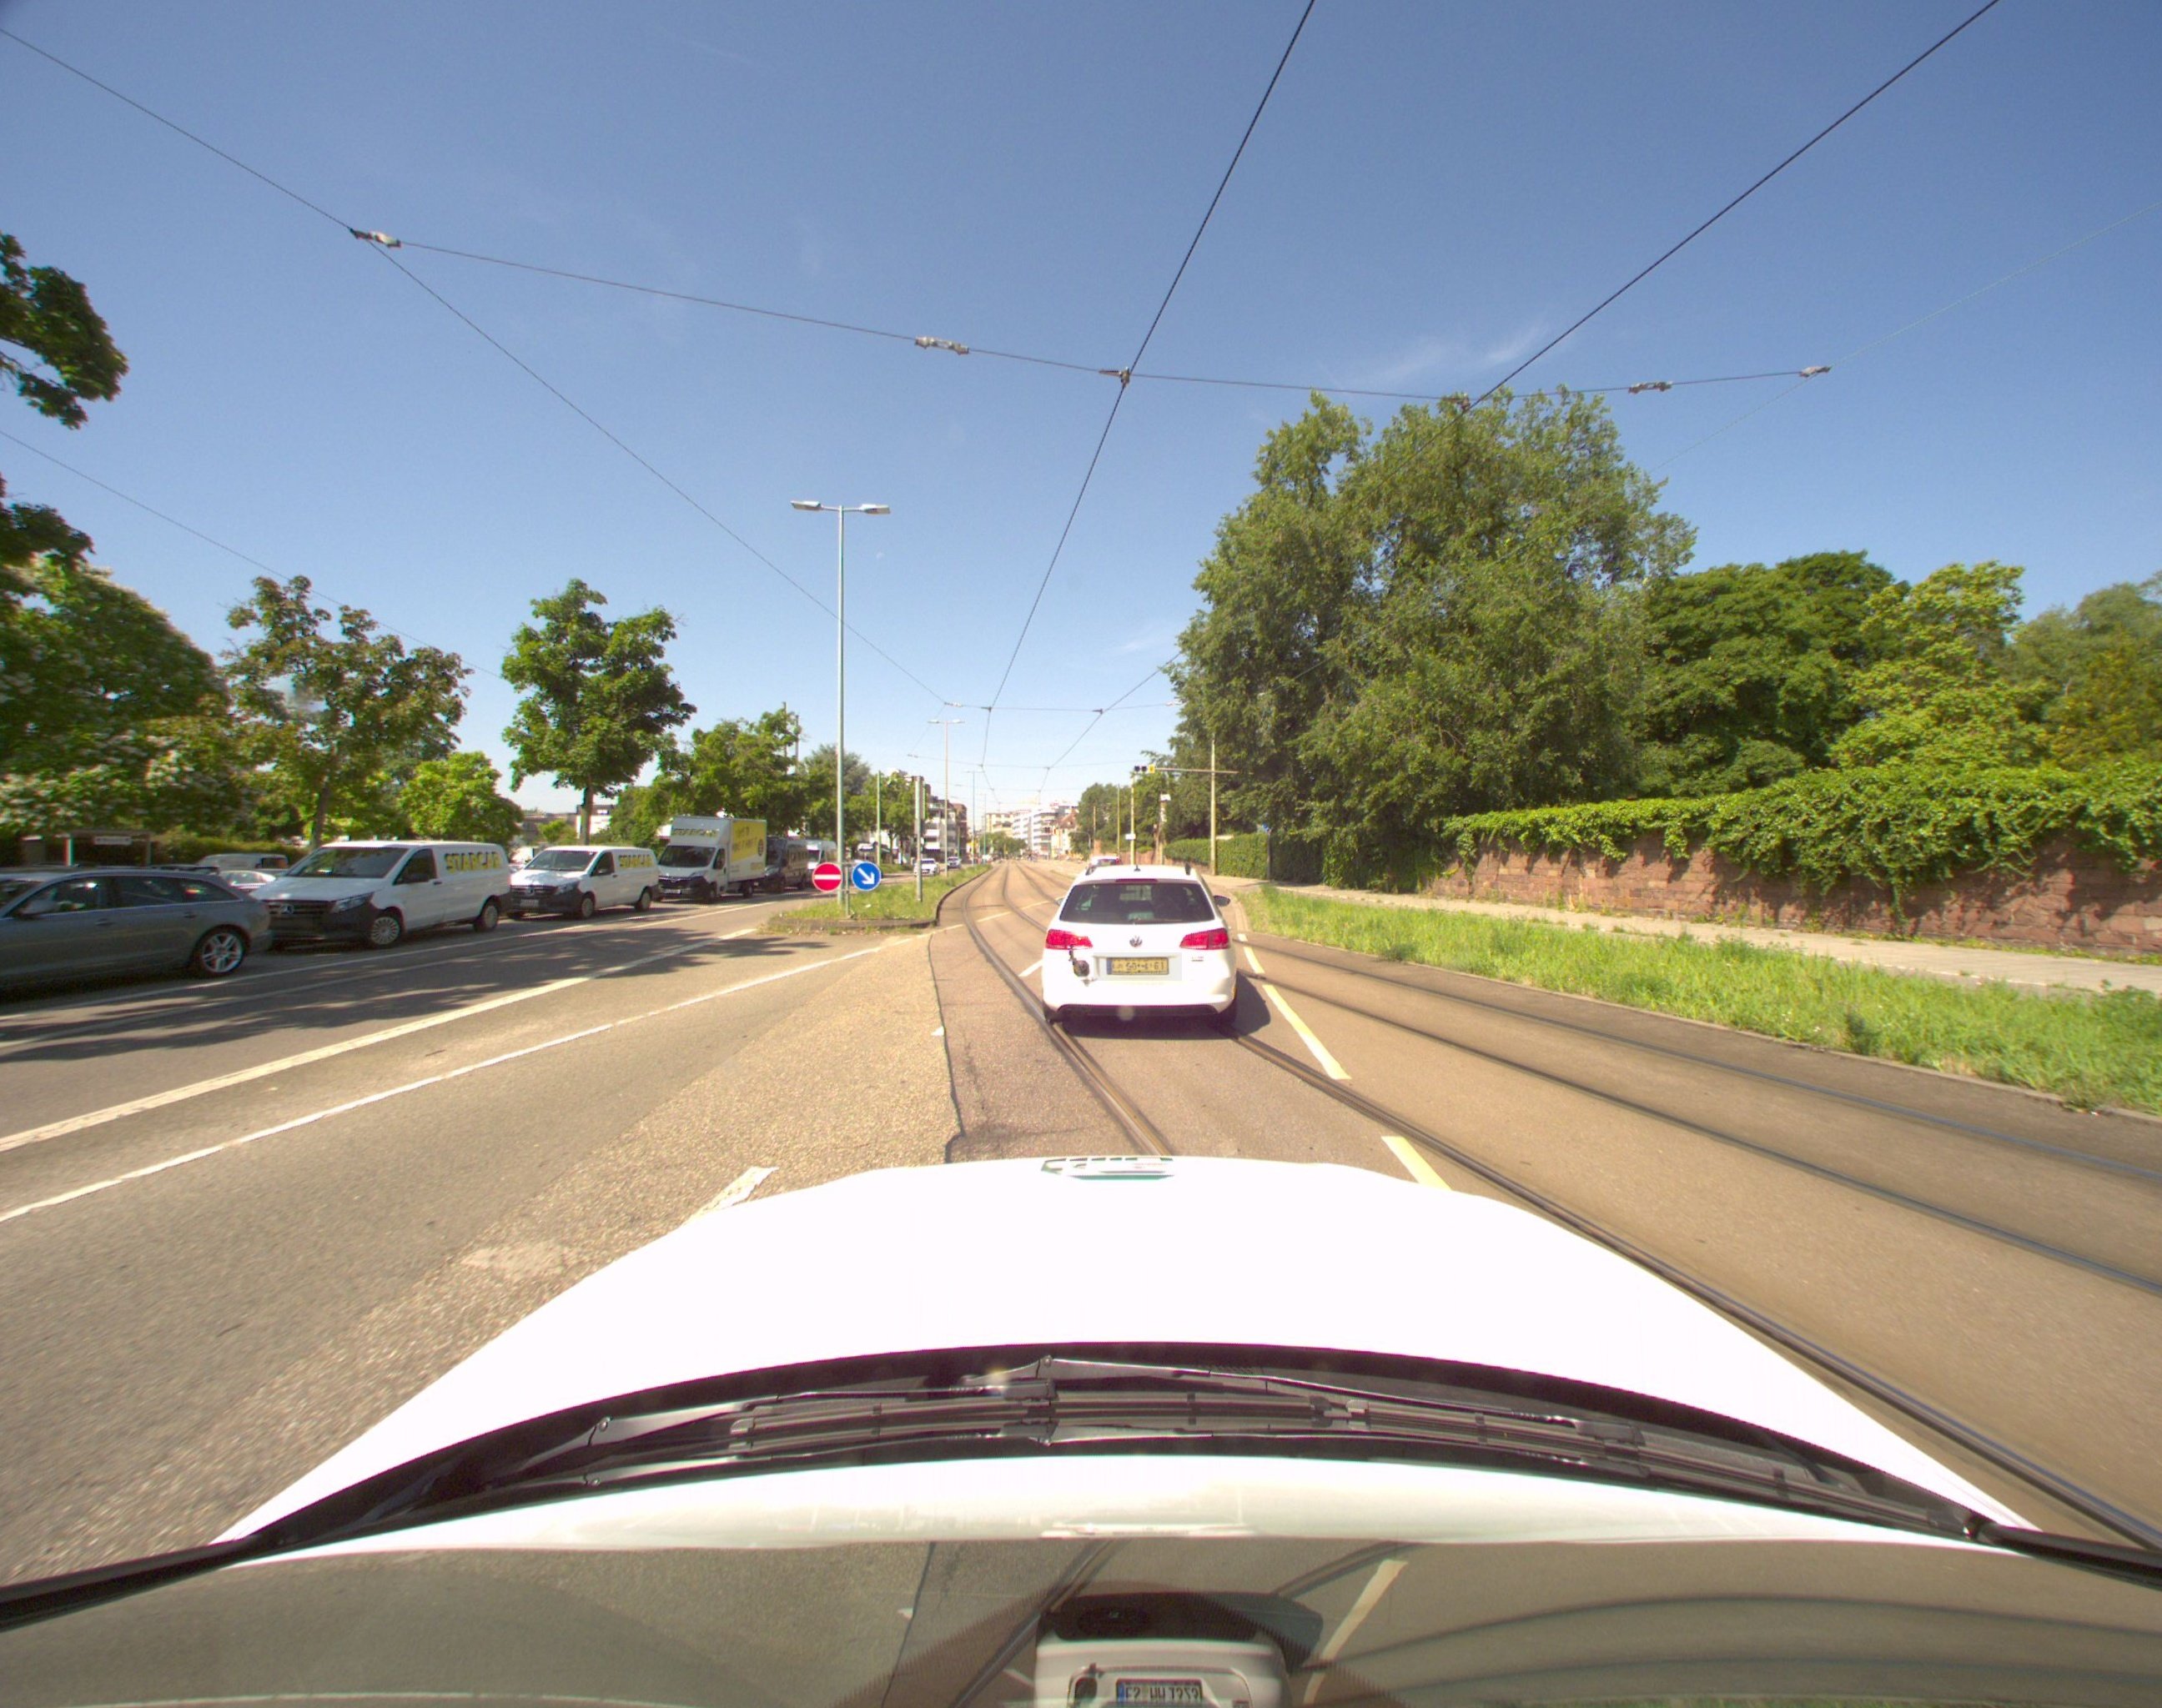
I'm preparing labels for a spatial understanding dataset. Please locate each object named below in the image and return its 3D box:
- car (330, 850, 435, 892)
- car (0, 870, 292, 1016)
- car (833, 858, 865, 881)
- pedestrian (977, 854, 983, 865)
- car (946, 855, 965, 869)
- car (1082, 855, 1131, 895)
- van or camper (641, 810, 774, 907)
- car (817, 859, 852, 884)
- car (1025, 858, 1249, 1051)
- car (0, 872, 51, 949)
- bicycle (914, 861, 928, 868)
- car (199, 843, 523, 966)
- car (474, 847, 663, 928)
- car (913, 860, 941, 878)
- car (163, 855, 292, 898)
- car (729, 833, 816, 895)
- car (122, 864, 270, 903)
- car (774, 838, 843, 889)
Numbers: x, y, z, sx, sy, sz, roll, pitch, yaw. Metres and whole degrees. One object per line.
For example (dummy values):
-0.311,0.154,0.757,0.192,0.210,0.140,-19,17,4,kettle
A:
-38.754,0.919,45.296,3.985,2.200,1.905,-1,0,-9,car
-12.330,0.972,9.417,1.929,1.454,4.877,-1,0,-5,car
-16.034,1.032,56.400,1.289,1.490,4.343,1,0,-5,car
-15.871,0.876,127.507,0.827,1.739,0.928,-1,0,-13,pedestrian
-15.635,0.977,101.796,2.040,1.597,4.651,-1,0,-5,car
1.172,0.854,35.430,1.721,1.596,4.018,1,0,7,car
-13.921,0.159,30.938,2.191,3.241,6.763,1,0,-3,van or camper
-15.654,1.062,51.875,1.289,1.490,3.671,1,0,-4,car
0.606,0.816,8.423,1.770,1.490,3.852,-1,0,5,car
-23.706,1.170,16.201,3.981,1.544,1.660,-1,0,-6,car
-24.512,1.611,124.813,0.546,0.921,2.191,-1,0,38,bicycle
-13.348,0.803,15.706,2.195,1.941,5.169,-1,0,-9,car
-13.727,0.810,22.316,2.192,1.941,5.176,-1,0,-5,car
-12.644,1.201,66.883,1.788,1.422,4.328,-1,0,-5,car
-41.595,1.061,39.773,3.985,2.003,1.905,-1,0,-9,car
-14.538,0.450,38.829,2.192,2.668,6.070,1,0,-4,car
-37.374,1.225,34.487,3.985,1.544,1.780,-1,0,-9,car
-15.081,0.507,45.512,2.192,2.630,5.969,1,0,-4,car
